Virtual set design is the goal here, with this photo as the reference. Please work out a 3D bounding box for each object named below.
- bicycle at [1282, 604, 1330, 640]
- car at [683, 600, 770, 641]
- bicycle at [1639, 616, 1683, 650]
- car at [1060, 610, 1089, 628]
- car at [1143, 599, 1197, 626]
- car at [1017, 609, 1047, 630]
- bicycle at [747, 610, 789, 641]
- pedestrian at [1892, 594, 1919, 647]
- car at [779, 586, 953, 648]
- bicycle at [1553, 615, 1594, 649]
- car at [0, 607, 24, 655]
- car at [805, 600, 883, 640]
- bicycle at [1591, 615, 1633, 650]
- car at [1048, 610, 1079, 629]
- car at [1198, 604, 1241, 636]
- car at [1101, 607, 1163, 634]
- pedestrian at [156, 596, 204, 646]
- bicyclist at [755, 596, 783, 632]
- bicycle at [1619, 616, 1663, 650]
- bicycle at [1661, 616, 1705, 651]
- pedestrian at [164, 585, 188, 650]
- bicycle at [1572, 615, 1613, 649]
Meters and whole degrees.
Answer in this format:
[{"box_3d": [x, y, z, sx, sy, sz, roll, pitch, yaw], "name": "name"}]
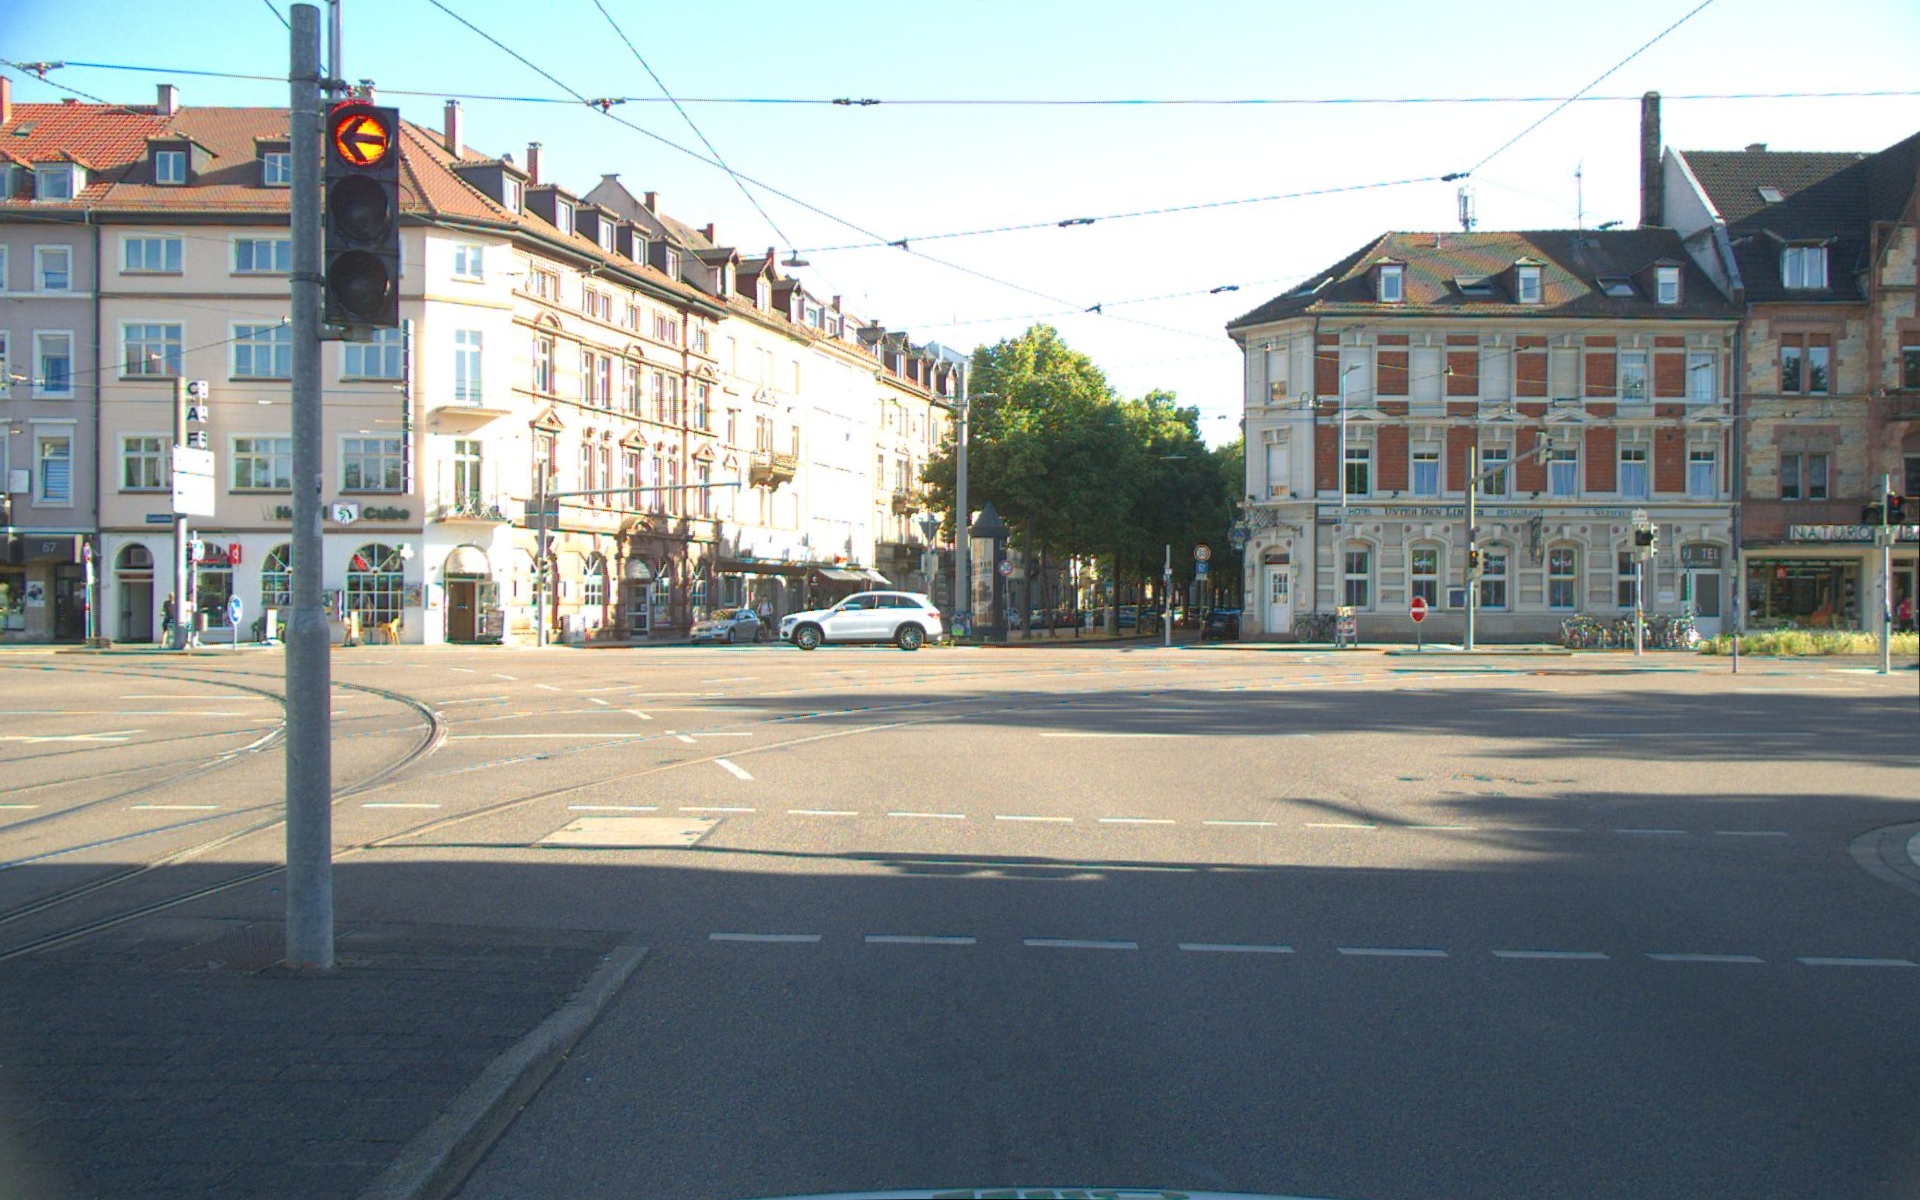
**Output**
[{"box_3d": [11.978, 0.759, 57.294, 1.603, 1.243, 0.607, 0, 0, 16], "name": "bicycle"}, {"box_3d": [-9.447, 0.812, 67.213, 2.052, 1.572, 4.367, 0, 0, 13], "name": "car"}, {"box_3d": [22.607, 1.066, 53.393, 0.593, 1.069, 1.641, 0, 0, -6], "name": "bicycle"}, {"box_3d": [9.428, 1.571, 136.494, 1.704, 1.422, 4.127, 3, 0, 13], "name": "car"}, {"box_3d": [16.964, 1.009, 133.656, 4.026, 1.952, 1.746, 3, 0, 21], "name": "car"}, {"box_3d": [5.341, 1.411, 122.832, 1.704, 1.422, 4.127, 3, 0, 9], "name": "car"}, {"box_3d": [-7.571, 0.994, 65.487, 0.734, 1.155, 2.812, 0, 0, 14], "name": "bicycle"}, {"box_3d": [32.388, 0.701, 56.647, 0.694, 1.782, 0.421, 0, 0, 0], "name": "pedestrian"}, {"box_3d": [-2.659, 0.455, 46.229, 4.754, 1.689, 1.997, 0, 0, -6], "name": "car"}, {"box_3d": [19.828, 1.019, 53.503, 0.593, 1.069, 1.641, 0, 0, -6], "name": "bicycle"}, {"box_3d": [-32.060, 1.002, 52.149, 3.910, 1.489, 1.998, -1, 1, -6], "name": "car"}, {"box_3d": [-4.648, 0.789, 67.072, 2.052, 1.525, 4.003, 0, 0, 13], "name": "car"}, {"box_3d": [21.120, 1.041, 53.585, 0.593, 1.069, 1.641, 0, 0, -6], "name": "bicycle"}, {"box_3d": [8.251, 1.535, 131.699, 1.704, 1.422, 4.127, 3, 0, 13], "name": "car"}, {"box_3d": [12.978, 0.999, 82.457, 1.616, 1.551, 3.755, 0, -1, 17], "name": "car"}, {"box_3d": [12.010, 1.399, 115.376, 4.023, 1.675, 1.748, 3, 0, 15], "name": "car"}, {"box_3d": [-25.407, 0.680, 53.873, 1.043, 1.618, 1.042, 0, 0, 1], "name": "pedestrian"}, {"box_3d": [-7.556, 0.543, 65.457, 0.776, 1.399, 1.109, 0, 0, 14], "name": "bicyclist"}, {"box_3d": [21.946, 1.054, 53.317, 0.593, 1.069, 1.641, 0, 0, -6], "name": "bicycle"}, {"box_3d": [23.333, 1.078, 53.414, 0.593, 1.069, 1.641, 0, 0, -6], "name": "bicycle"}, {"box_3d": [-24.664, 0.542, 52.028, 0.498, 2.049, 0.505, 0, 0, 2], "name": "pedestrian"}, {"box_3d": [20.468, 1.030, 53.559, 0.593, 1.069, 1.641, 0, 0, -6], "name": "bicycle"}]
